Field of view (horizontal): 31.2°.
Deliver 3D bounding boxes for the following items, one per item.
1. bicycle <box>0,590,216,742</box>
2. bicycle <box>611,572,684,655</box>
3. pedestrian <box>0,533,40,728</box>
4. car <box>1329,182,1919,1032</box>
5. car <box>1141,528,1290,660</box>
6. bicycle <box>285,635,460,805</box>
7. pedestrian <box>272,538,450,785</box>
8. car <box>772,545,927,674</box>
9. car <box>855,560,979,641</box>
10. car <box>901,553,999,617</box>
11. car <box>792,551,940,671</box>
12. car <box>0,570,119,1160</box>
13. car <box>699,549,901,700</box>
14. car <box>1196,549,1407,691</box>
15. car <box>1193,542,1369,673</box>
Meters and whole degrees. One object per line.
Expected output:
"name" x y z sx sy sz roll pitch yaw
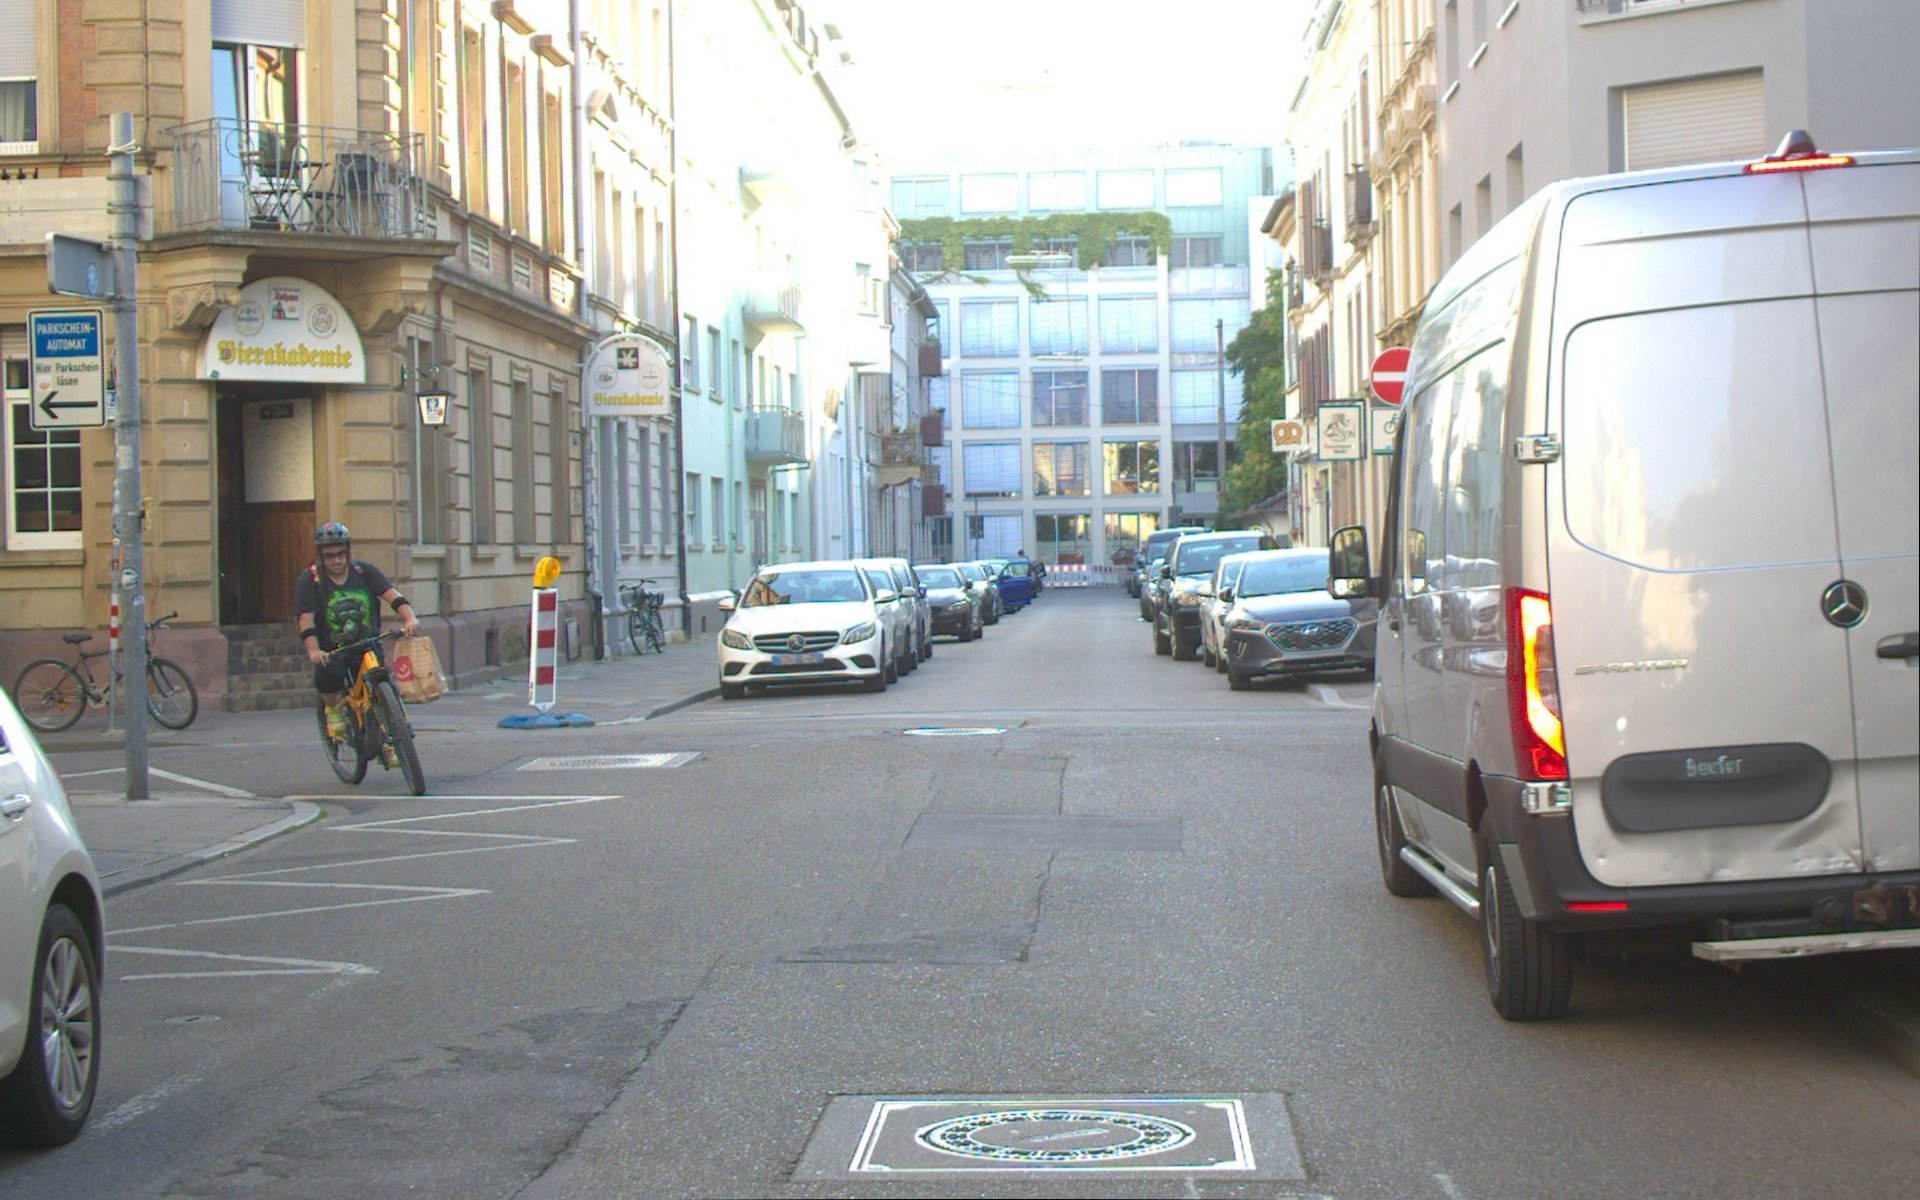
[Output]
"bicycle" -7.596 0.579 30.633 1.757 1.270 0.661 -1 4 -1
"bicycle" -4.573 0.187 50.434 0.737 1.157 2.461 -1 1 2
"pedestrian" -8.916 0.268 31.034 1.013 1.736 0.985 -1 1 -6
"car" 2.702 -0.032 12.998 2.277 2.431 6.203 -1 1 4
"car" 3.597 -0.109 49.037 1.893 1.778 4.000 -1 1 2
"bicycle" -3.824 0.754 22.263 0.538 1.004 1.981 -1 1 -27
"pedestrian" -3.884 0.382 22.240 0.829 1.540 1.083 -1 1 -27
"car" -1.392 0.093 44.531 1.625 1.571 3.754 -1 1 4
"car" -0.738 -0.018 61.776 1.993 1.350 4.429 -1 1 2
"car" -0.217 -0.365 79.541 2.173 1.413 4.000 -1 1 0
"car" -1.330 0.135 50.276 1.785 1.653 3.816 -1 1 4
"car" -3.162 0.661 7.342 1.657 1.409 3.882 -1 0 2
"car" -1.745 0.229 38.879 1.993 1.559 4.506 -1 1 1
"car" 3.669 0.183 37.532 1.938 1.367 3.789 -3 1 1
"car" 4.023 0.067 43.593 1.963 1.552 3.889 -1 1 2
